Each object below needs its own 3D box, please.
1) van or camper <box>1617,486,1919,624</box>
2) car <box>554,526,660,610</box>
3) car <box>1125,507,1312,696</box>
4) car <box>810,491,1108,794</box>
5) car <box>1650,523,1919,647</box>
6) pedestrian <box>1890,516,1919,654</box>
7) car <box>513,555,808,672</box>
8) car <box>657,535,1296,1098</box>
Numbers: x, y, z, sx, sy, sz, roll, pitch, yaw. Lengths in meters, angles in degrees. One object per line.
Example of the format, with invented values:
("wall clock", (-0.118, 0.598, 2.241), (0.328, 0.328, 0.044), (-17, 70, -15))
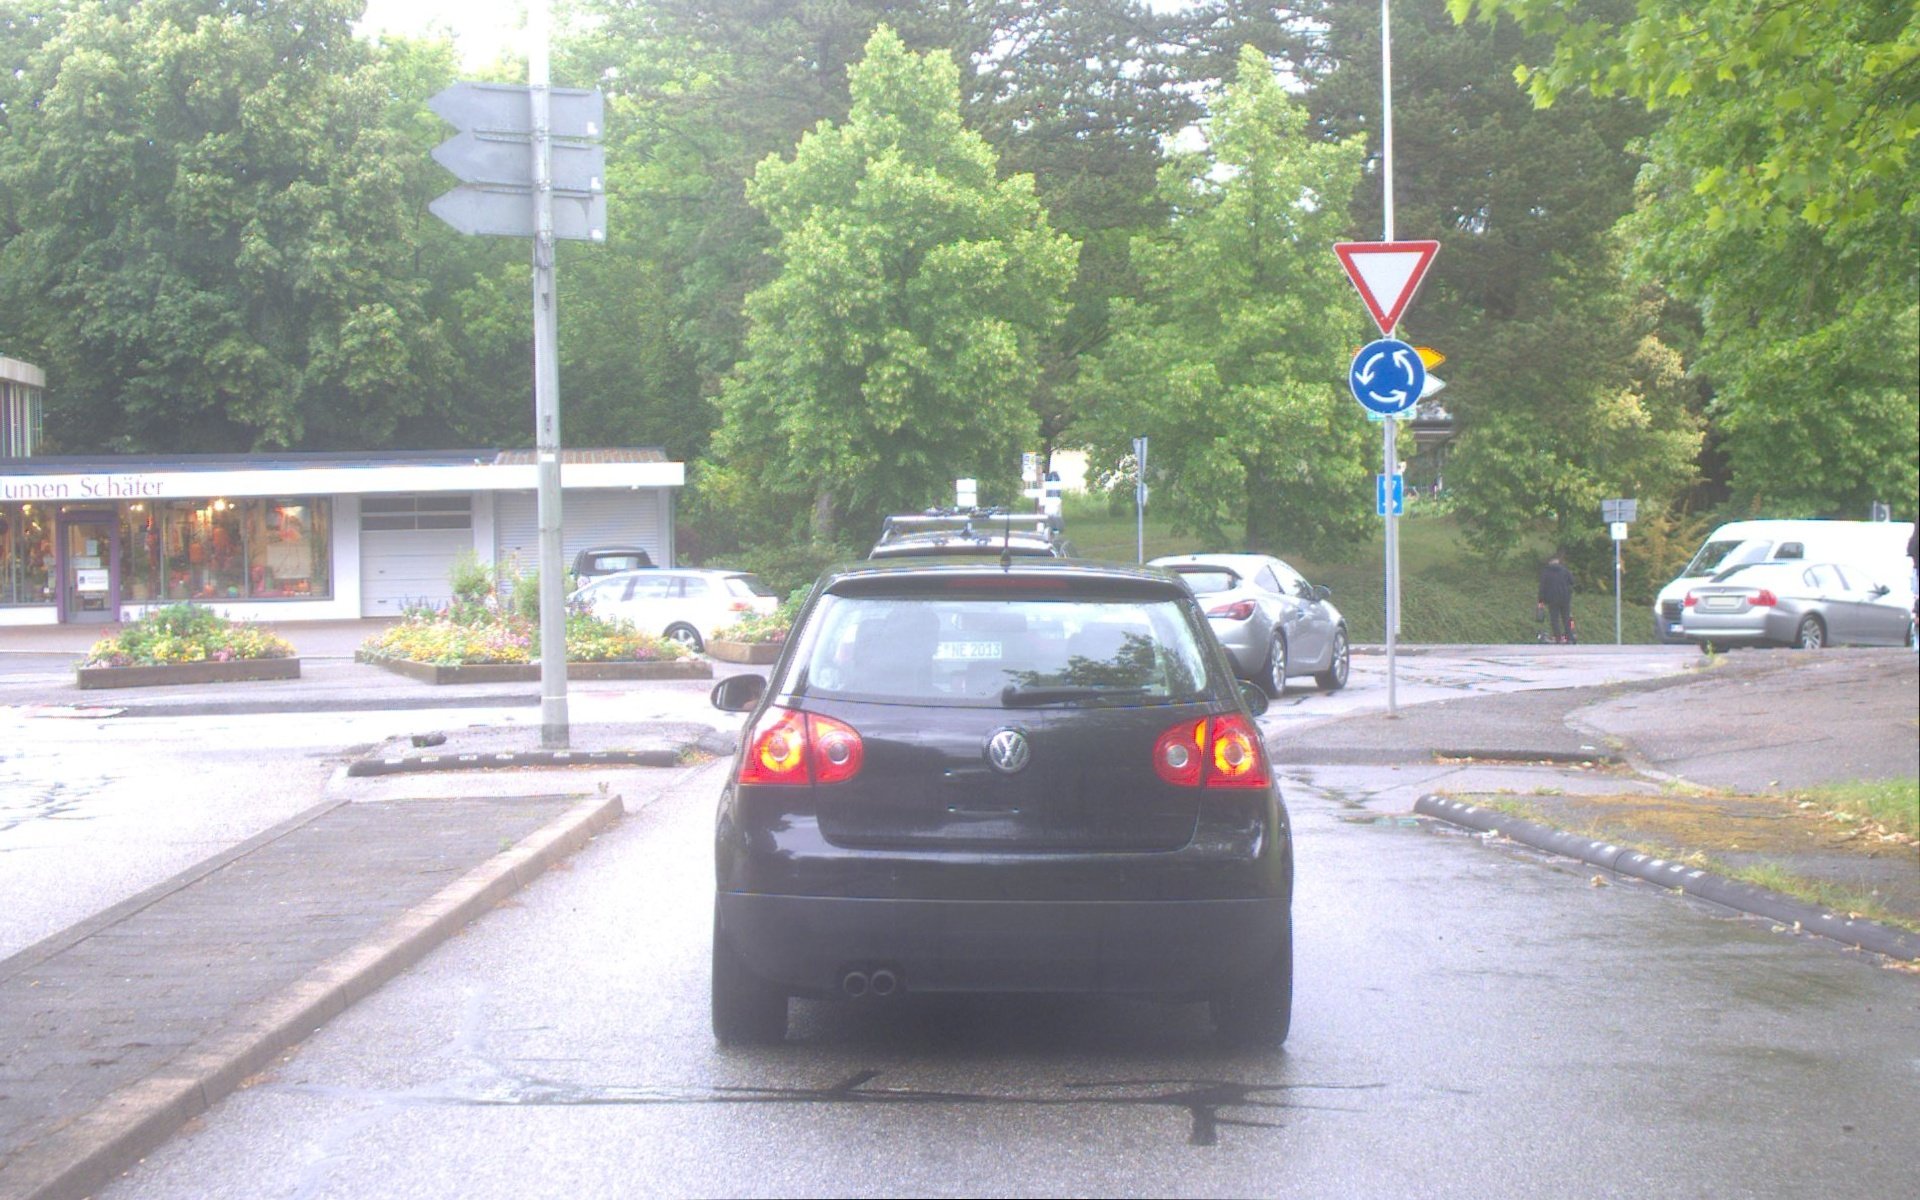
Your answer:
("van or camper", (14.753, -0.780, 61.863), (5.650, 2.370, 2.201), (0, 0, -29))
("car", (-6.704, -0.625, 64.986), (1.812, 1.481, 3.832), (-2, 1, -8))
("car", (2.651, -0.004, 35.718), (1.765, 1.795, 4.246), (-2, 0, 3))
("car", (-0.092, 0.244, 23.159), (1.764, 1.795, 4.246), (-2, 0, -2))
("car", (11.810, -0.208, 48.850), (4.022, 1.678, 1.999), (0, 0, -44))
("pedestrian", (12.003, -0.190, 42.843), (0.528, 1.707, 0.636), (0, 0, -15))
("car", (-4.637, 0.190, 53.124), (4.137, 1.735, 1.996), (1, 0, 31))
("car", (0.199, 0.572, 11.519), (1.765, 1.533, 3.999), (1, 1, 5))
